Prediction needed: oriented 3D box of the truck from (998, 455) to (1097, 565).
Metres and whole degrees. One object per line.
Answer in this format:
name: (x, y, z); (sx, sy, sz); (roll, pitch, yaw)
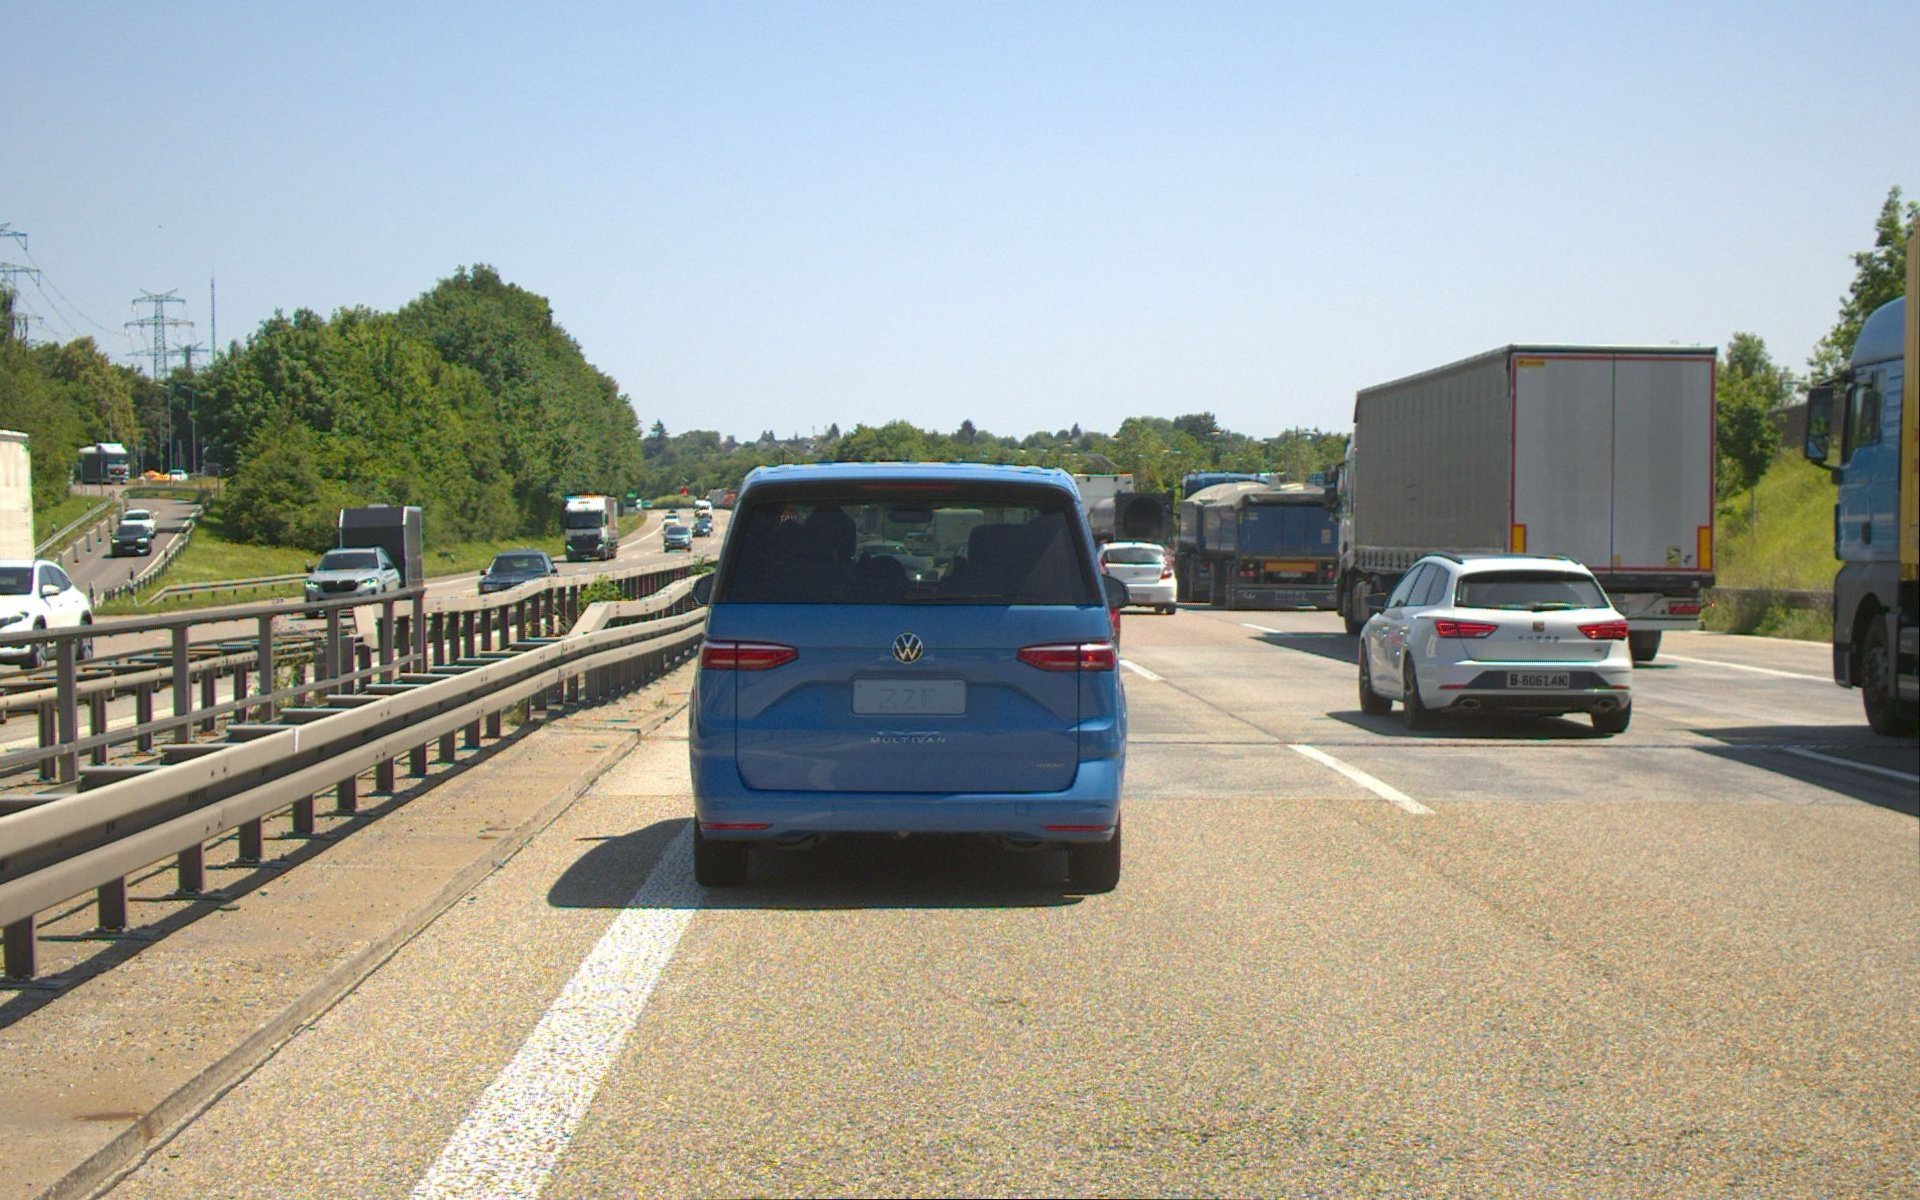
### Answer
truck: (4.282, -4.404, 172.650); (3.621, 5.195, 15.691); (1, 0, -3)

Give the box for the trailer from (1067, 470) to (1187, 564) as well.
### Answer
trailer: (5.931, -2.921, 125.055); (3.646, 3.068, 15.772); (1, 0, 0)

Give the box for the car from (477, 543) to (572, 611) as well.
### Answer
car: (-10.494, -0.555, 83.015); (1.792, 1.567, 4.000); (1, 0, -1)

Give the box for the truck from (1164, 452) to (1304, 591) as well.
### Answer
truck: (6.870, -2.028, 87.046); (2.743, 3.300, 7.133); (1, 2, -1)

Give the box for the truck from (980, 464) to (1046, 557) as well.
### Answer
truck: (2.928, -4.910, 191.643); (3.068, 4.903, 10.691); (1, 0, -2)

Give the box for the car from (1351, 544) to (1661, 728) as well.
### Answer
car: (4.408, 0.242, 28.309); (1.867, 1.356, 4.000); (1, 1, 0)

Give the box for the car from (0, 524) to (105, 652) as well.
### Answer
car: (-13.232, -0.157, 47.472); (1.749, 1.690, 4.385); (-2, 0, -1)

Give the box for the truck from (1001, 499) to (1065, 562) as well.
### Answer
truck: (2.219, -2.102, 105.068); (1.725, 1.851, 4.000); (1, 0, -2)

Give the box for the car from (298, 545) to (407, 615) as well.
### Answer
car: (-14.805, -0.492, 84.005); (1.870, 1.620, 4.629); (-1, 0, -1)

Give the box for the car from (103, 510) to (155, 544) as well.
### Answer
car: (-40.825, -3.559, 169.042); (1.993, 1.570, 5.276); (1, 0, -8)

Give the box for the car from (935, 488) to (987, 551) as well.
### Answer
car: (0.024, -3.950, 170.652); (2.286, 2.998, 5.575); (1, 0, -2)

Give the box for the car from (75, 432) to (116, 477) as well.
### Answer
car: (-59.959, -10.091, 238.339); (2.068, 2.870, 6.734); (-1, 1, -20)

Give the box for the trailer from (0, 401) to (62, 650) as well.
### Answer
trailer: (-18.178, -1.188, 55.009); (3.989, 4.221, 14.041); (-2, 0, -1)

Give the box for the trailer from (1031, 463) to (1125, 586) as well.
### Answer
trailer: (5.119, -3.223, 151.744); (3.646, 5.118, 13.076); (1, 0, 0)

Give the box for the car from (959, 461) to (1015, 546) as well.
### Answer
car: (1.722, -6.171, 222.182); (3.218, 5.239, 8.145); (1, 0, -2)

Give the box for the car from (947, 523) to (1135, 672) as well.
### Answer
car: (0.849, -0.044, 38.400); (1.870, 1.547, 4.000); (1, 0, -1)

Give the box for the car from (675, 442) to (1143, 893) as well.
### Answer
car: (-0.222, 0.263, 16.260); (1.901, 1.831, 4.000); (1, 0, 0)

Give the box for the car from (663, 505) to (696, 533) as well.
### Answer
car: (-20.350, -5.871, 249.504); (1.993, 1.934, 4.897); (1, 0, -1)

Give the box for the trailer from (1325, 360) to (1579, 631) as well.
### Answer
trailer: (7.719, -1.647, 54.748); (2.924, 4.030, 6.411); (1, 1, -1)

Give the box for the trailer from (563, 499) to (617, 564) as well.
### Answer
trailer: (-23.187, -4.321, 215.697); (2.757, 3.962, 6.132); (-2, 1, -2)

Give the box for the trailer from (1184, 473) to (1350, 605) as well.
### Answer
trailer: (7.029, -1.494, 79.923); (2.743, 2.827, 9.117); (1, 2, -1)

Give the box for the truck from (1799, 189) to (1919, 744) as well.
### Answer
truck: (8.473, -0.927, 23.645); (2.765, 4.095, 9.953); (1, 1, -1)

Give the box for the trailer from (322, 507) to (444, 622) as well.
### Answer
trailer: (-14.889, -0.907, 88.977); (2.166, 2.768, 5.376); (-3, 0, -1)

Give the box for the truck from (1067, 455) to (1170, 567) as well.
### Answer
truck: (6.033, -3.359, 132.136); (3.626, 4.080, 7.524); (1, 0, 1)

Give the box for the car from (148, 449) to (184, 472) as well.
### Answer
car: (-57.787, -10.149, 250.119); (1.936, 1.504, 4.401); (1, 0, -21)

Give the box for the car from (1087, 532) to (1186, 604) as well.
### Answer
car: (3.679, -0.673, 72.299); (1.840, 1.449, 4.000); (1, 0, 0)

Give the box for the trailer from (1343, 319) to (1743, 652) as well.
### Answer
trailer: (7.876, -1.530, 48.795); (2.962, 4.035, 13.753); (1, 1, -1)
